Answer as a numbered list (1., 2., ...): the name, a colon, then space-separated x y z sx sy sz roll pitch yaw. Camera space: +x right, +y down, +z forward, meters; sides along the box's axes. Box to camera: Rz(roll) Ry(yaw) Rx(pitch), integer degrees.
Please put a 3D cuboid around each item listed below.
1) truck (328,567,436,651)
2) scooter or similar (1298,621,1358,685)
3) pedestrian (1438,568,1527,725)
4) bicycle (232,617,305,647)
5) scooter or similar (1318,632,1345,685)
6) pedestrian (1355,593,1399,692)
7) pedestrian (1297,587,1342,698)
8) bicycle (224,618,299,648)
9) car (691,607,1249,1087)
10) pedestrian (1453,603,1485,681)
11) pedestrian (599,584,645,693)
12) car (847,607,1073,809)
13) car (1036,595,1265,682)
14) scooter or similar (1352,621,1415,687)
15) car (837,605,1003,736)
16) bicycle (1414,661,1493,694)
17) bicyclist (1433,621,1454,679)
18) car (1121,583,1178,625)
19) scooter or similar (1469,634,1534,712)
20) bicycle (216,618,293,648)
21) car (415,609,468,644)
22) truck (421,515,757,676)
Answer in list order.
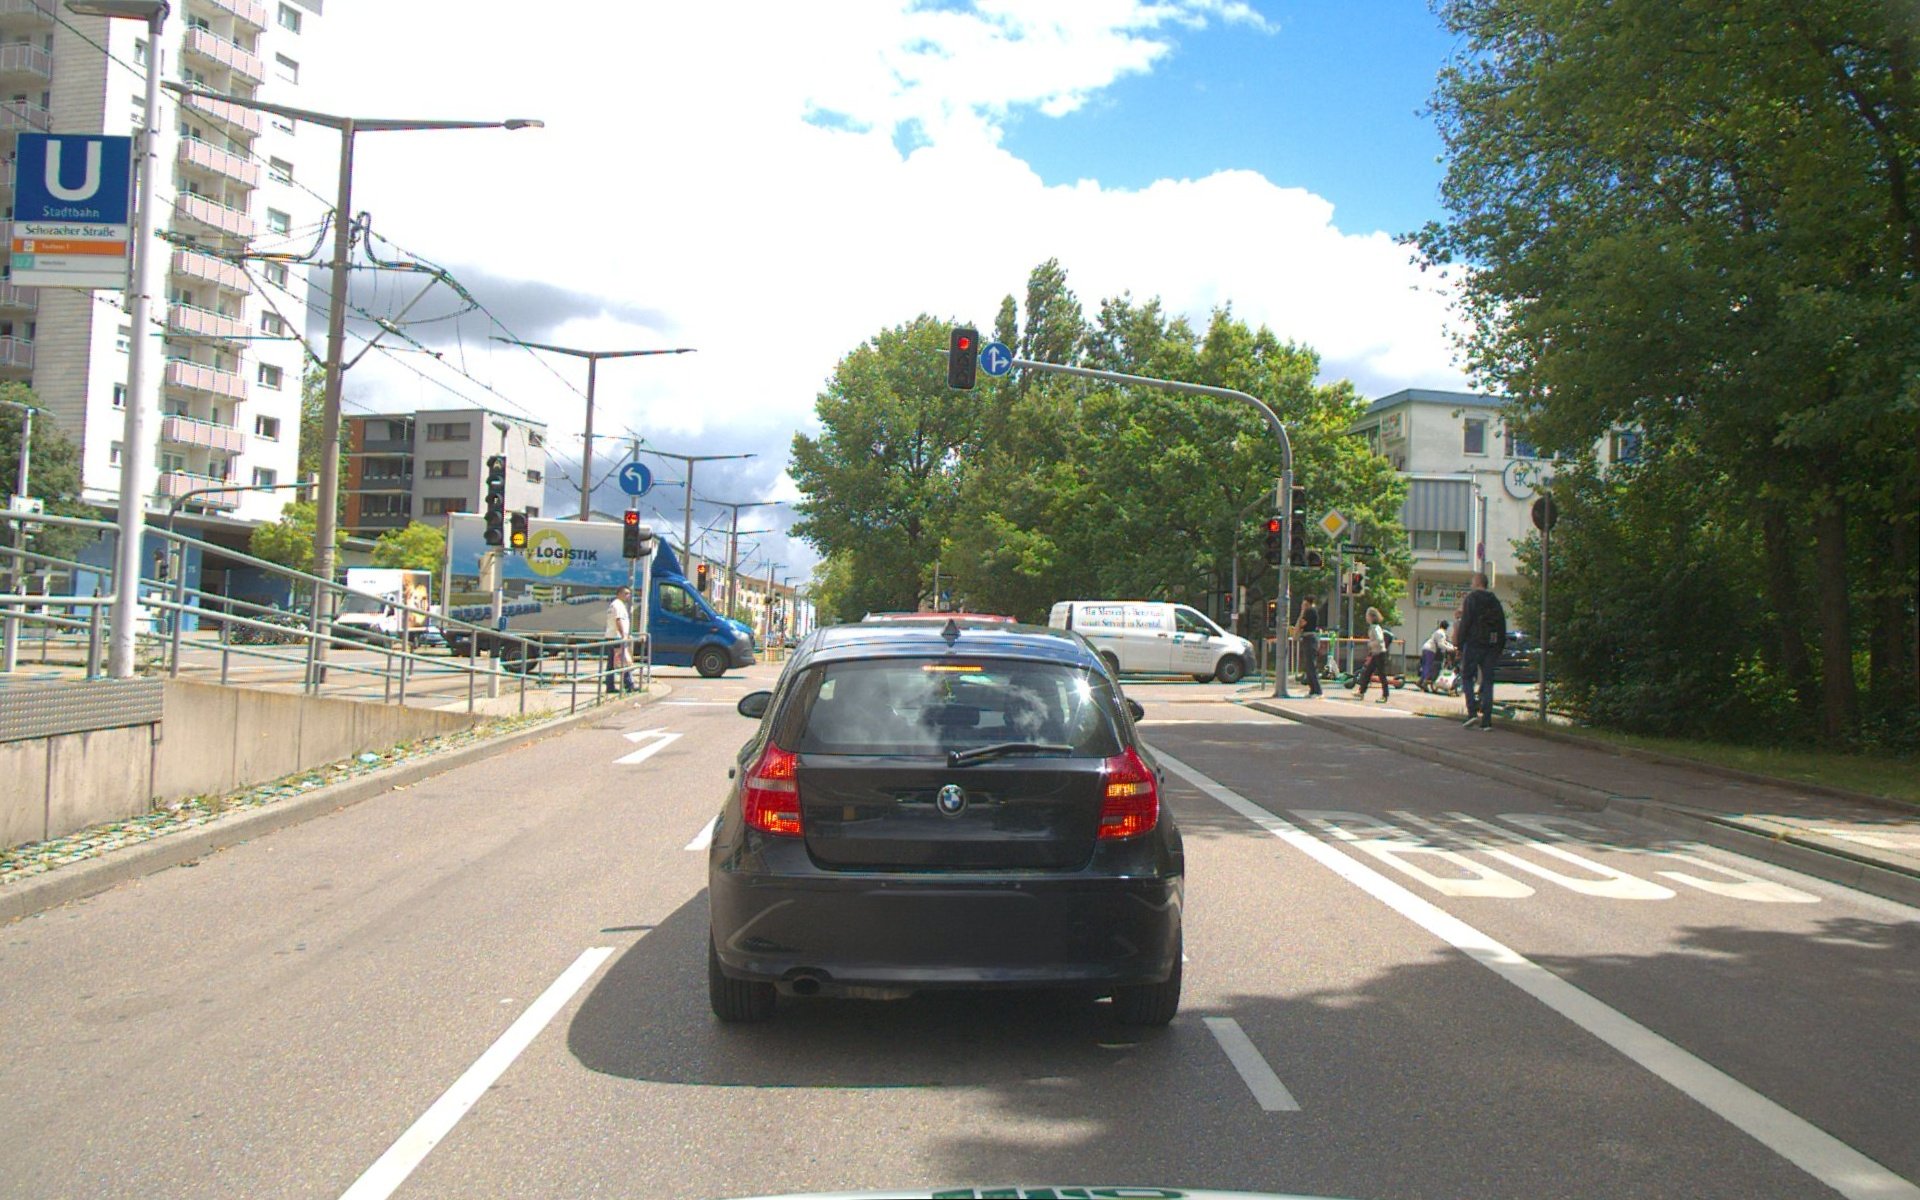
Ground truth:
1. truck: -23.201 0.375 66.748 2.237 3.172 7.311 2 -1 -5
2. scooter or similar: 7.420 1.062 33.346 1.087 1.257 0.539 1 -1 1
3. pedestrian: 6.550 0.570 20.784 0.779 1.909 1.013 1 -1 -1
4. bicycle: -26.715 1.246 63.923 2.528 1.026 0.748 3 -3 -29
5. scooter or similar: 7.865 1.229 34.999 0.536 1.082 1.263 1 0 13
6. pedestrian: 7.612 0.770 30.196 0.623 1.797 0.518 1 -1 -4
7. pedestrian: 6.276 0.741 28.917 0.623 1.909 0.518 1 -1 -4
8. bicycle: -26.542 1.244 62.825 2.528 1.026 0.748 3 -3 -29
9. car: 0.010 0.759 6.715 1.666 1.424 3.419 1 0 -1
10. pedestrian: 11.581 0.944 37.621 0.644 1.743 0.461 1 -1 24
11. pedestrian: -5.593 0.630 27.371 0.676 1.764 0.685 1 -1 -15
12. car: -0.025 0.790 13.618 1.605 1.424 3.419 1 0 -1
13. car: 4.531 0.918 39.552 5.081 1.926 1.993 1 -1 -14
14. scooter or similar: 8.739 1.104 34.134 1.127 1.294 0.555 2 -1 1
15. car: -0.483 0.817 21.080 1.862 1.447 4.538 1 0 -1
16. bicycle: 10.231 1.605 34.288 1.552 0.620 0.534 1 0 20
17. bicyclist: 10.043 1.039 34.350 0.390 1.177 0.503 1 -1 20
18. car: 9.081 0.205 79.592 1.694 1.904 3.991 2 -1 -9
19. scooter or similar: 9.382 1.266 28.685 0.872 1.251 0.454 6 -1 -1
20. bicycle: -26.311 1.228 61.681 2.528 1.026 0.748 3 -3 -29
21. car: -23.696 1.199 75.714 1.379 1.486 3.772 2 -1 -3
22. truck: -8.305 -0.073 37.591 7.138 3.407 2.601 1 -1 -11
